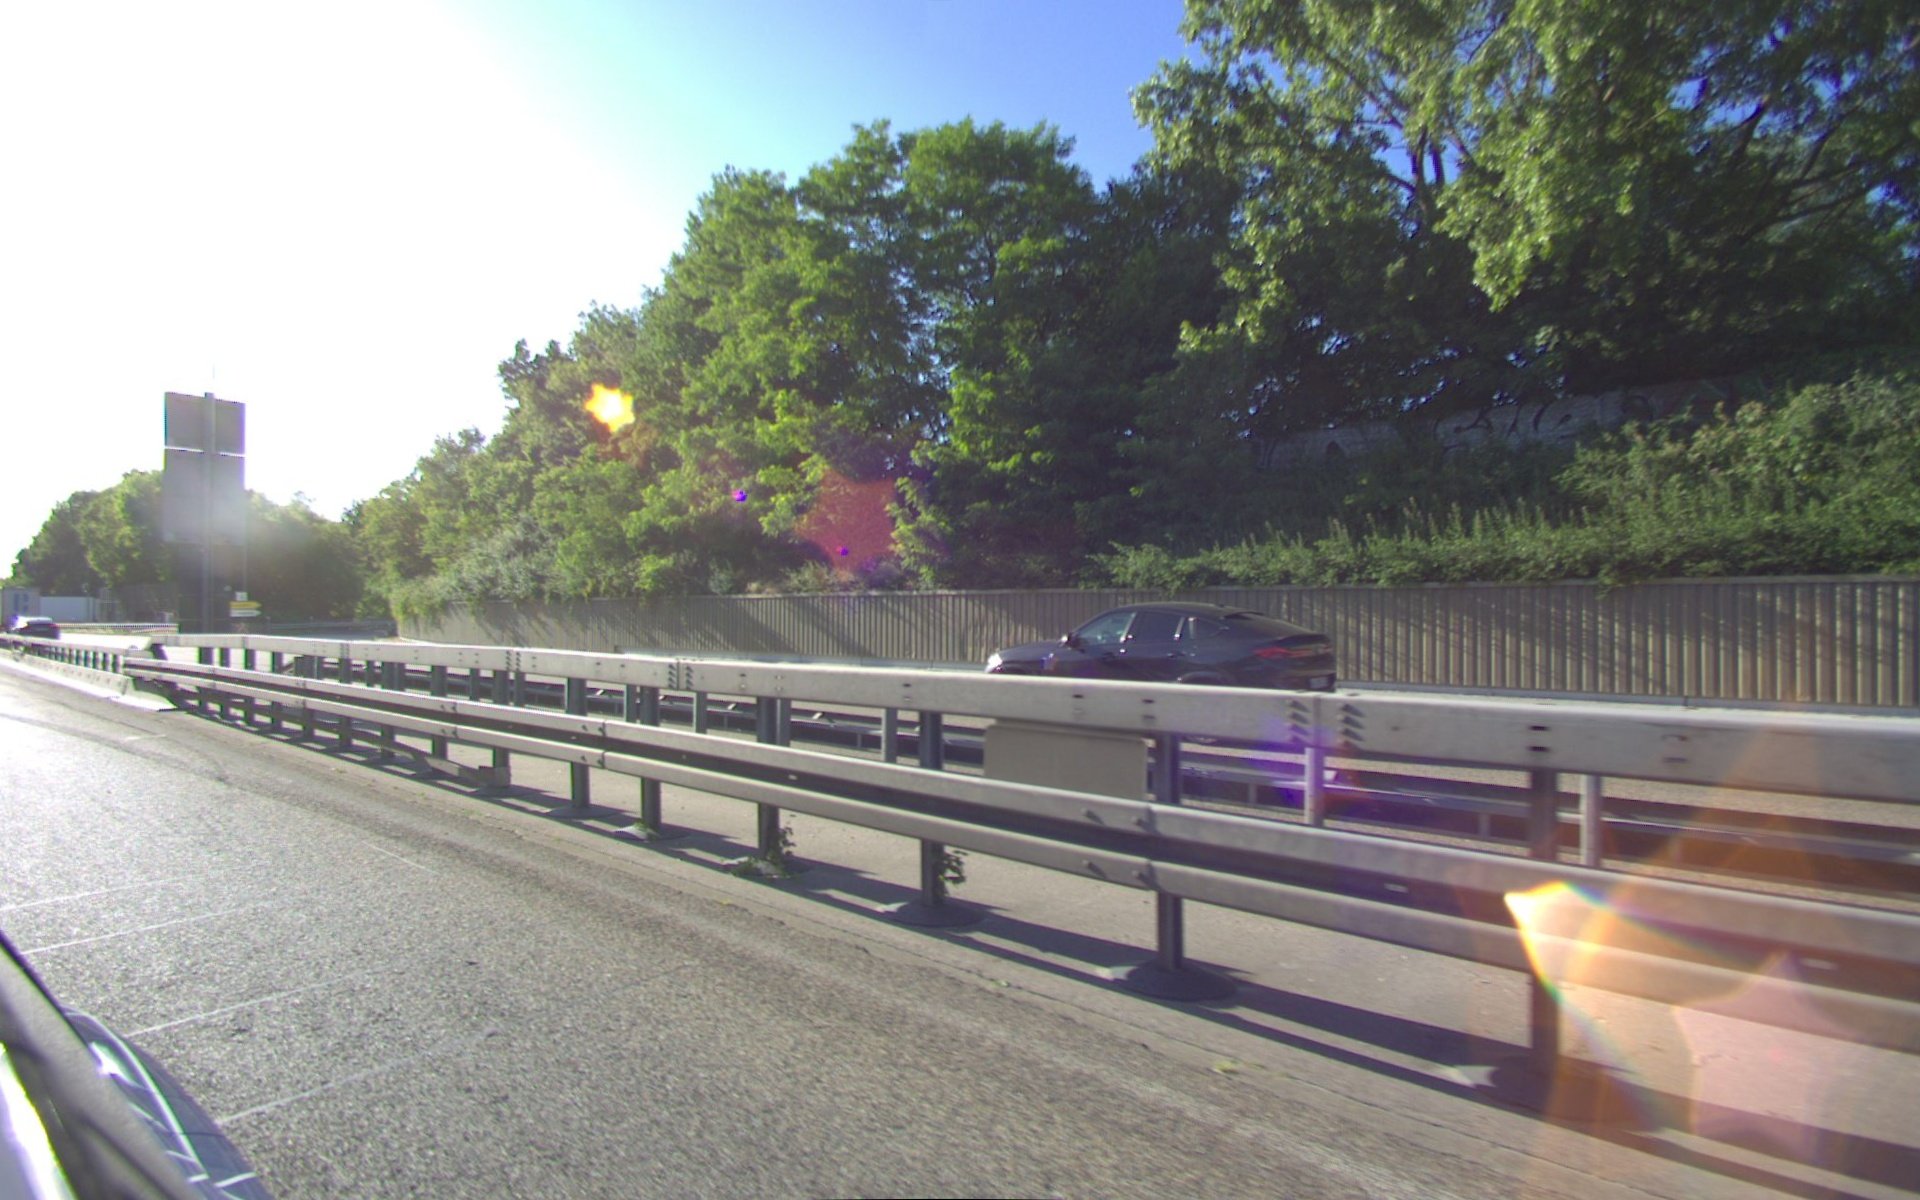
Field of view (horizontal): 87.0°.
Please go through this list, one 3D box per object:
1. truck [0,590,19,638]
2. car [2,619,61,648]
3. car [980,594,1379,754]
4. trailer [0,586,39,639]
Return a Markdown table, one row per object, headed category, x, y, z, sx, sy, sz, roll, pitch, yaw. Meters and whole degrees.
| category | x | y | z | sx | sy | sz | roll | pitch | yaw |
| --- | --- | --- | --- | --- | --- | --- | --- | --- | --- |
| truck | -89.622 | 1.369 | 93.787 | 6.381 | 4.293 | 2.708 | -2 | 0 | 40 |
| car | -51.060 | 1.846 | 55.629 | 4.198 | 1.497 | 1.972 | -2 | -1 | 42 |
| car | 2.666 | 0.862 | 13.179 | 4.860 | 1.688 | 1.650 | -2 | 0 | 41 |
| trailer | -84.662 | 1.225 | 89.558 | 14.073 | 4.312 | 2.720 | -2 | 0 | 40 |
